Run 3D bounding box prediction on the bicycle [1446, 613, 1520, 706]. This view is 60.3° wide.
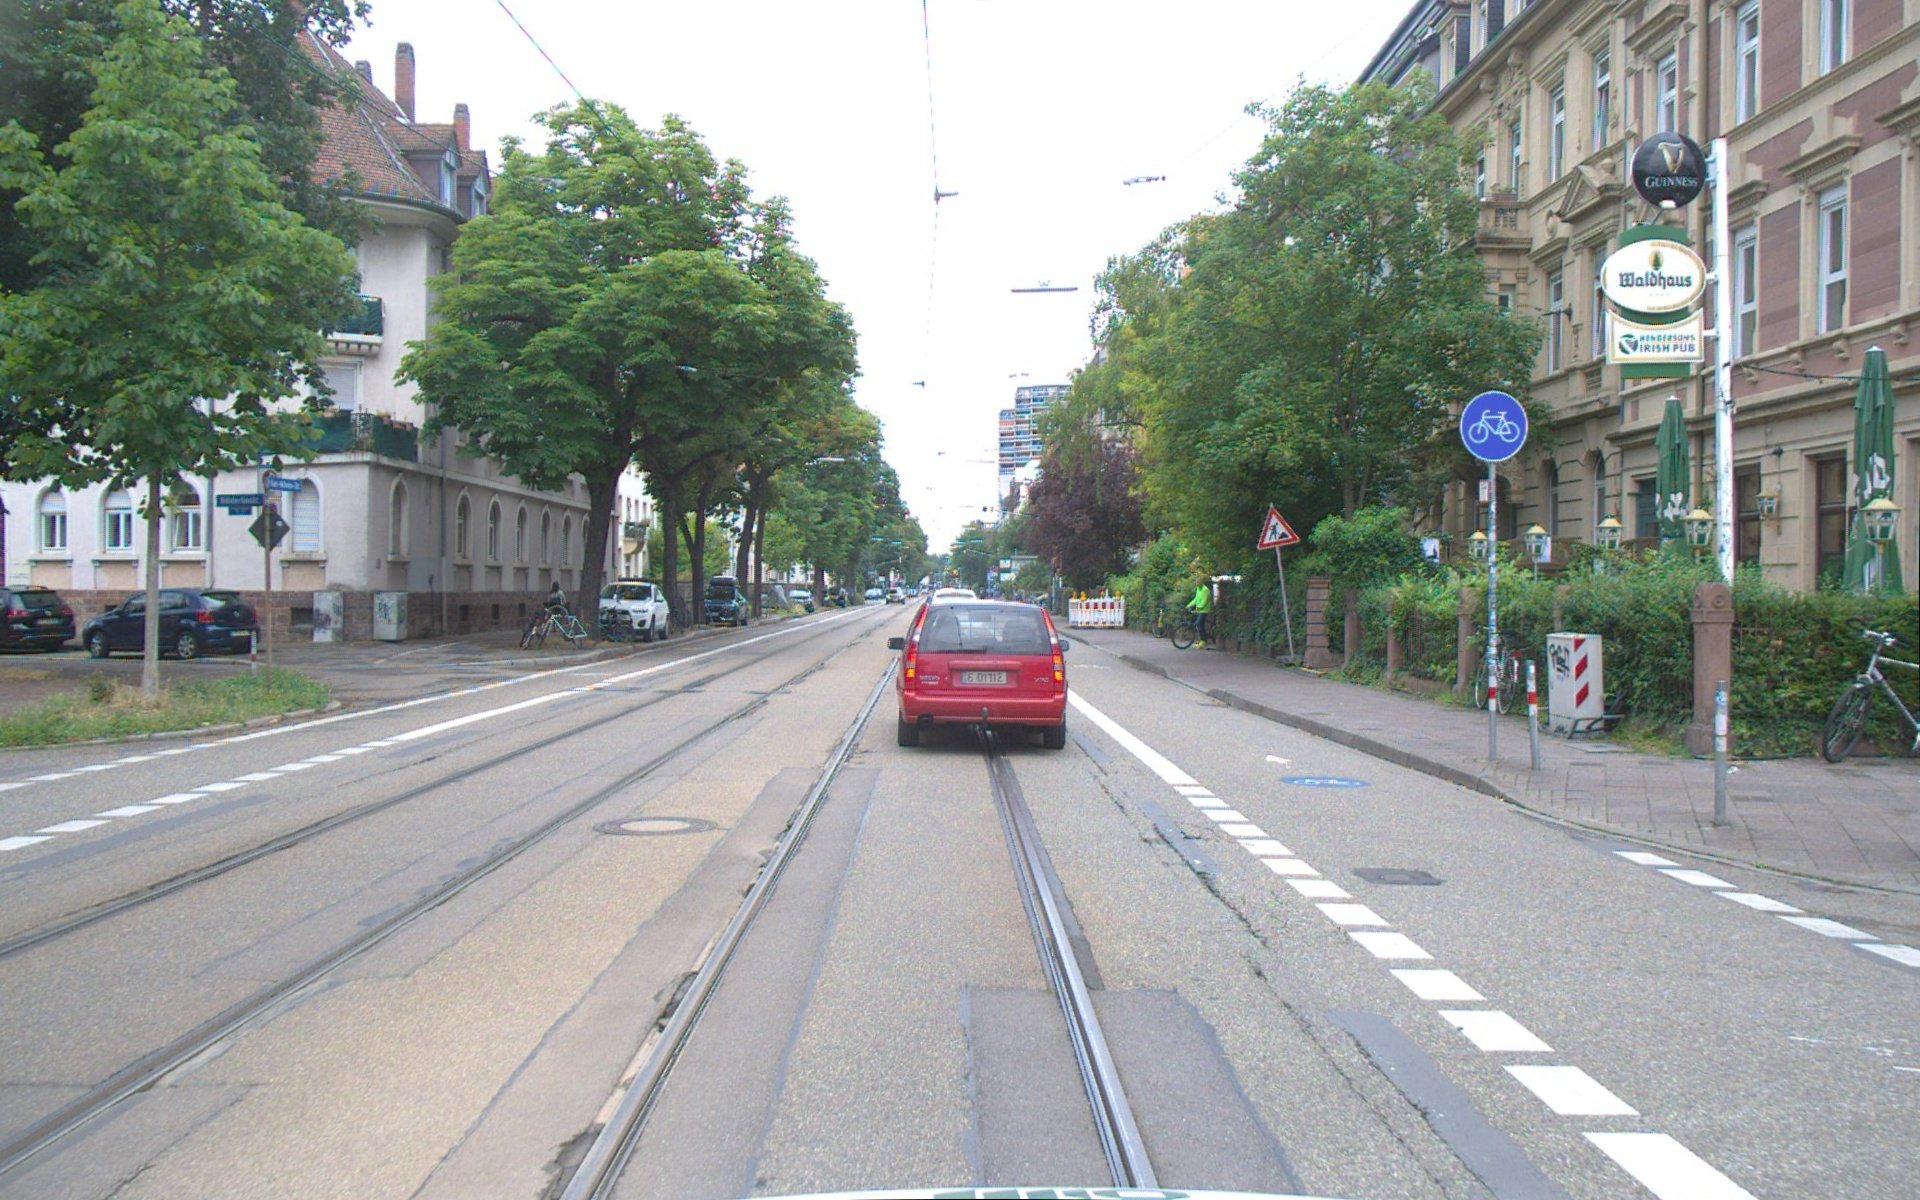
[{"bbox_3d":[6.443,0.711,20.434,0.295,1.060,1.848,1,0,-1],"label":"bicycle"}]

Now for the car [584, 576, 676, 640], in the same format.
[{"bbox_3d":[-9.295,0.207,46.848,1.859,1.684,4.224,1,0,-2],"label":"car"}]

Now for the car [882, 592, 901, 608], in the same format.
[{"bbox_3d":[-6.398,0.014,154.528,1.720,1.404,4.025,0,0,-2],"label":"car"}]

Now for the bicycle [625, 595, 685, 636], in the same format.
[{"bbox_3d":[-9.600,0.475,52.133,1.706,1.213,0.653,2,0,13],"label":"bicycle"}]

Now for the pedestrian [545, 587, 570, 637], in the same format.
[{"bbox_3d":[-12.057,0.349,49.545,0.553,1.493,0.722,0,0,-1],"label":"pedestrian"}]

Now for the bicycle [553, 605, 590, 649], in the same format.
[{"bbox_3d":[-8.799,0.602,37.496,0.473,0.975,1.398,0,0,1],"label":"bicycle"}]

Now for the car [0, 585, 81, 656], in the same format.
[{"bbox_3d":[-21.800,0.418,37.008,3.852,1.489,1.706,1,1,22],"label":"car"}]

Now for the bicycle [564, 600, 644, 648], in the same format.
[{"bbox_3d":[-9.180,0.612,42.697,1.883,1.140,0.624,2,0,-1],"label":"bicycle"}]

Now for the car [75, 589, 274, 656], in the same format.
[{"bbox_3d":[-16.444,0.445,34.637,3.673,1.330,1.741,0,0,22],"label":"car"}]

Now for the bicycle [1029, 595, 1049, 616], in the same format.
[{"bbox_3d":[5.893,0.424,123.194,0.898,1.533,2.382,1,0,16],"label":"bicycle"}]

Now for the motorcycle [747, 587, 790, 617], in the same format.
[{"bbox_3d":[-10.145,0.082,87.590,2.225,1.538,0.924,1,-1,34],"label":"motorcycle"}]

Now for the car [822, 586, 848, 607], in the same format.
[{"bbox_3d":[-10.022,-0.273,132.547,1.813,1.590,3.942,1,0,-1],"label":"car"}]

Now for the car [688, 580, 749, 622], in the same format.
[{"bbox_3d":[-9.535,0.024,65.618,1.741,1.537,4.237,1,0,0],"label":"car"}]

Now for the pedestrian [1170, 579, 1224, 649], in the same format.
[{"bbox_3d":[5.990,0.346,41.847,1.204,1.763,1.018,0,0,-2],"label":"pedestrian"}]

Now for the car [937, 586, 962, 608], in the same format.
[{"bbox_3d":[-0.792,-0.249,123.563,1.706,1.634,3.998,1,0,-3],"label":"car"}]

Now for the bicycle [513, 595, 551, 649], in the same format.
[{"bbox_3d":[-9.892,0.497,38.177,0.665,1.155,1.925,0,2,-21],"label":"bicycle"}]

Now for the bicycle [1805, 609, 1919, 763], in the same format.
[{"bbox_3d":[8.292,0.744,14.396,1.570,1.299,0.513,1,0,11],"label":"bicycle"}]

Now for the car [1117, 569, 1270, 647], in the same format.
[{"bbox_3d":[6.414,0.209,45.742,3.906,1.890,1.809,-3,0,-1],"label":"car"}]

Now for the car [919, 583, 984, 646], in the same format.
[{"bbox_3d":[-0.198,0.375,45.734,1.683,1.653,3.941,1,0,1],"label":"car"}]

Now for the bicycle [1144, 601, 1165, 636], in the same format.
[{"bbox_3d":[6.000,0.562,51.050,0.469,1.063,1.531,0,0,0],"label":"bicycle"}]

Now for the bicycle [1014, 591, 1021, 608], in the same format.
[{"bbox_3d":[4.984,-0.064,143.926,0.540,1.424,1.734,1,0,-1],"label":"bicycle"}]

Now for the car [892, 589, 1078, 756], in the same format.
[{"bbox_3d":[0.202,0.651,16.978,1.655,1.466,3.742,2,1,-1],"label":"car"}]

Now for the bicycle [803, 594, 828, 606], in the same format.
[{"bbox_3d":[-10.282,-0.013,117.823,1.713,0.858,0.684,1,0,0],"label":"bicycle"}]

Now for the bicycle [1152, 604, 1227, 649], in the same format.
[{"bbox_3d":[5.844,0.673,42.151,1.804,1.094,0.606,0,0,-2],"label":"bicycle"}]
